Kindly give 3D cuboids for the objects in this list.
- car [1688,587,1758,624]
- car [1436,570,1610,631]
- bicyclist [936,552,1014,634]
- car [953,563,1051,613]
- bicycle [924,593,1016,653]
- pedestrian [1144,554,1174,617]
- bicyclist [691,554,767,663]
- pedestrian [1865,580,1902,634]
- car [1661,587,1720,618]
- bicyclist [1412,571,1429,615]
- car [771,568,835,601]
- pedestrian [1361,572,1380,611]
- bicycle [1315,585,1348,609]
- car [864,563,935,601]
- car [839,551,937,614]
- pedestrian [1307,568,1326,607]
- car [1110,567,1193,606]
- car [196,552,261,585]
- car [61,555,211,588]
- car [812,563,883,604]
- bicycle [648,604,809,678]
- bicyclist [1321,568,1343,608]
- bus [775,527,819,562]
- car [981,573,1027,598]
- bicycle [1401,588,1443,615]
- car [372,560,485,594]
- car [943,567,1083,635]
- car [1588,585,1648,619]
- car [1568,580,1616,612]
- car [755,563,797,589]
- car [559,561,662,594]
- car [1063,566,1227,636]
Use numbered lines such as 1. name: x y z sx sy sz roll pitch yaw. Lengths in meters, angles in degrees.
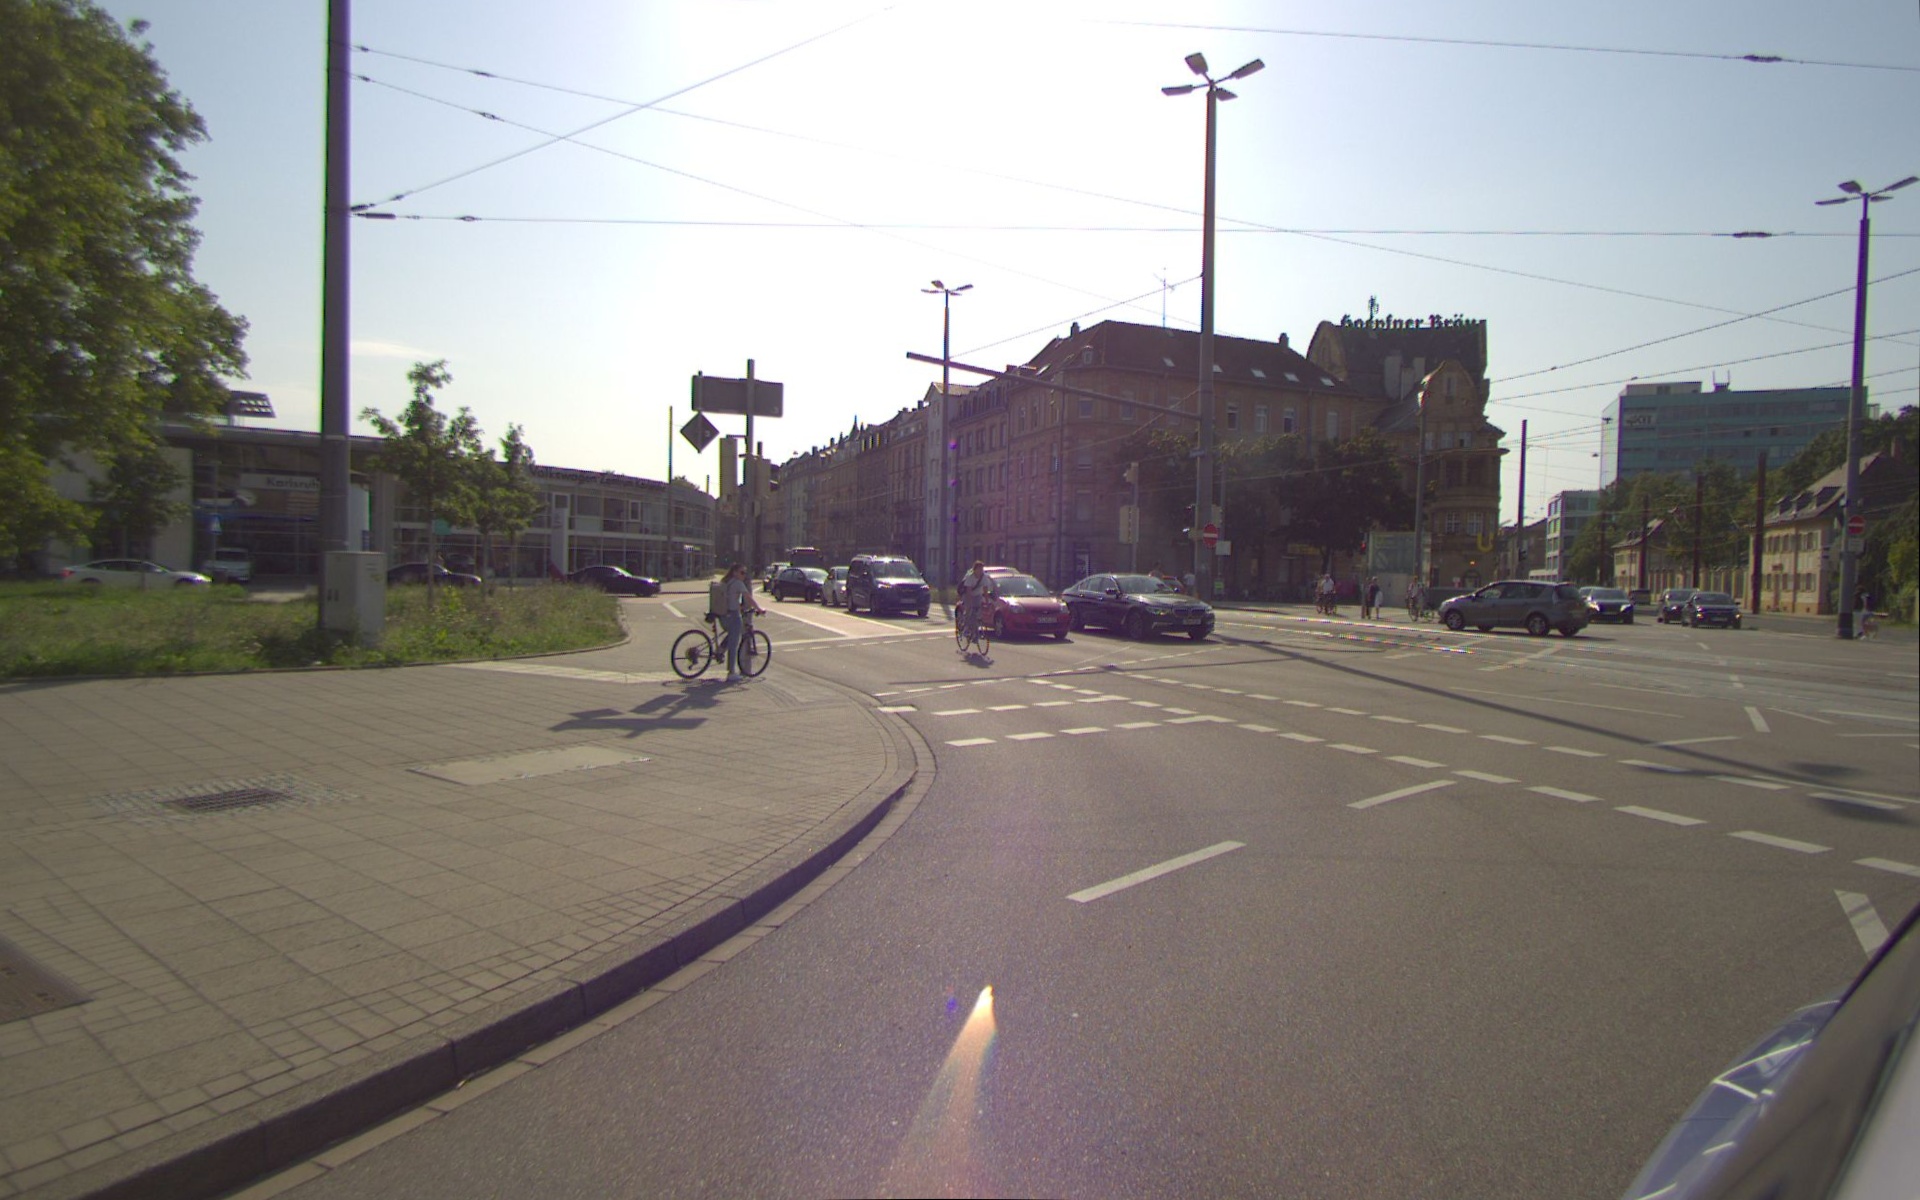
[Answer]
1. car: 31.223 0.187 41.511 1.678 1.343 3.960 2 2 29
2. car: 17.136 -0.015 31.035 1.779 1.644 4.294 2 1 -32
3. bicyclist: 0.285 -0.142 19.173 1.068 1.493 0.971 0 2 -38
4. car: 1.259 -0.420 31.932 1.765 1.453 3.565 1 2 -22
5. bicycle: 0.156 0.406 19.324 0.519 1.001 2.197 -1 3 -37
6. pedestrian: 5.635 -0.418 28.663 0.515 1.751 0.599 1 1 -27
7. bicyclist: -3.173 0.110 13.861 0.803 1.444 0.732 1 1 -30
8. pedestrian: 30.150 0.213 33.035 0.650 1.708 0.792 0 2 -43
9. car: 34.031 0.085 47.234 1.678 1.343 3.960 2 2 29
10. bicyclist: 18.600 -0.278 40.900 0.581 1.752 0.590 2 1 26
11. car: -6.730 -0.688 43.163 1.766 1.298 3.639 1 2 -24
12. pedestrian: 17.660 -0.354 43.570 0.495 1.661 0.525 1 1 -25
13. bicycle: 16.104 -0.124 43.876 1.495 1.037 0.434 1 1 -28
14. car: -2.585 -0.781 42.254 1.765 1.433 4.009 1 2 -22
15. car: -2.415 -0.603 32.591 1.765 1.850 4.784 1 2 -22
16. pedestrian: 16.086 -0.552 45.638 0.495 1.747 0.625 1 1 -10
17. car: 7.881 -0.600 41.944 1.641 1.465 3.790 1 2 -20
18. car: -35.699 -1.560 49.517 1.959 1.480 4.331 1 2 -28
19. car: -32.237 -1.115 39.763 4.311 1.180 2.002 0 2 -31
20. car: -4.358 -0.656 38.672 1.765 1.459 3.640 1 2 -22
21. bicycle: -3.154 0.575 13.866 2.033 0.904 0.569 3 2 -30
22. bicyclist: 16.131 -0.517 43.900 0.575 1.738 0.649 1 1 -26
23. bus: -15.467 -5.129 95.188 2.837 3.020 11.525 1 2 -15
24. car: 2.789 -0.981 65.318 1.704 1.478 3.849 1 2 -17
25. bicycle: 18.641 0.057 40.863 1.510 1.037 0.430 2 1 25
26. car: -23.382 -1.024 44.666 4.308 1.387 2.003 1 2 -28
27. car: 1.142 -0.033 23.974 1.765 1.433 4.009 1 2 -22
28. car: 29.906 0.048 46.091 1.911 1.393 3.960 2 2 29
29. car: 34.413 -0.248 55.196 1.911 1.656 3.960 2 2 29
30. car: -10.845 -1.435 59.511 1.765 1.459 3.640 1 2 -22
31. car: -16.292 -1.066 47.415 4.307 1.387 2.004 1 2 -10
32. car: 4.248 -0.042 24.040 1.765 1.469 4.361 1 2 -22
